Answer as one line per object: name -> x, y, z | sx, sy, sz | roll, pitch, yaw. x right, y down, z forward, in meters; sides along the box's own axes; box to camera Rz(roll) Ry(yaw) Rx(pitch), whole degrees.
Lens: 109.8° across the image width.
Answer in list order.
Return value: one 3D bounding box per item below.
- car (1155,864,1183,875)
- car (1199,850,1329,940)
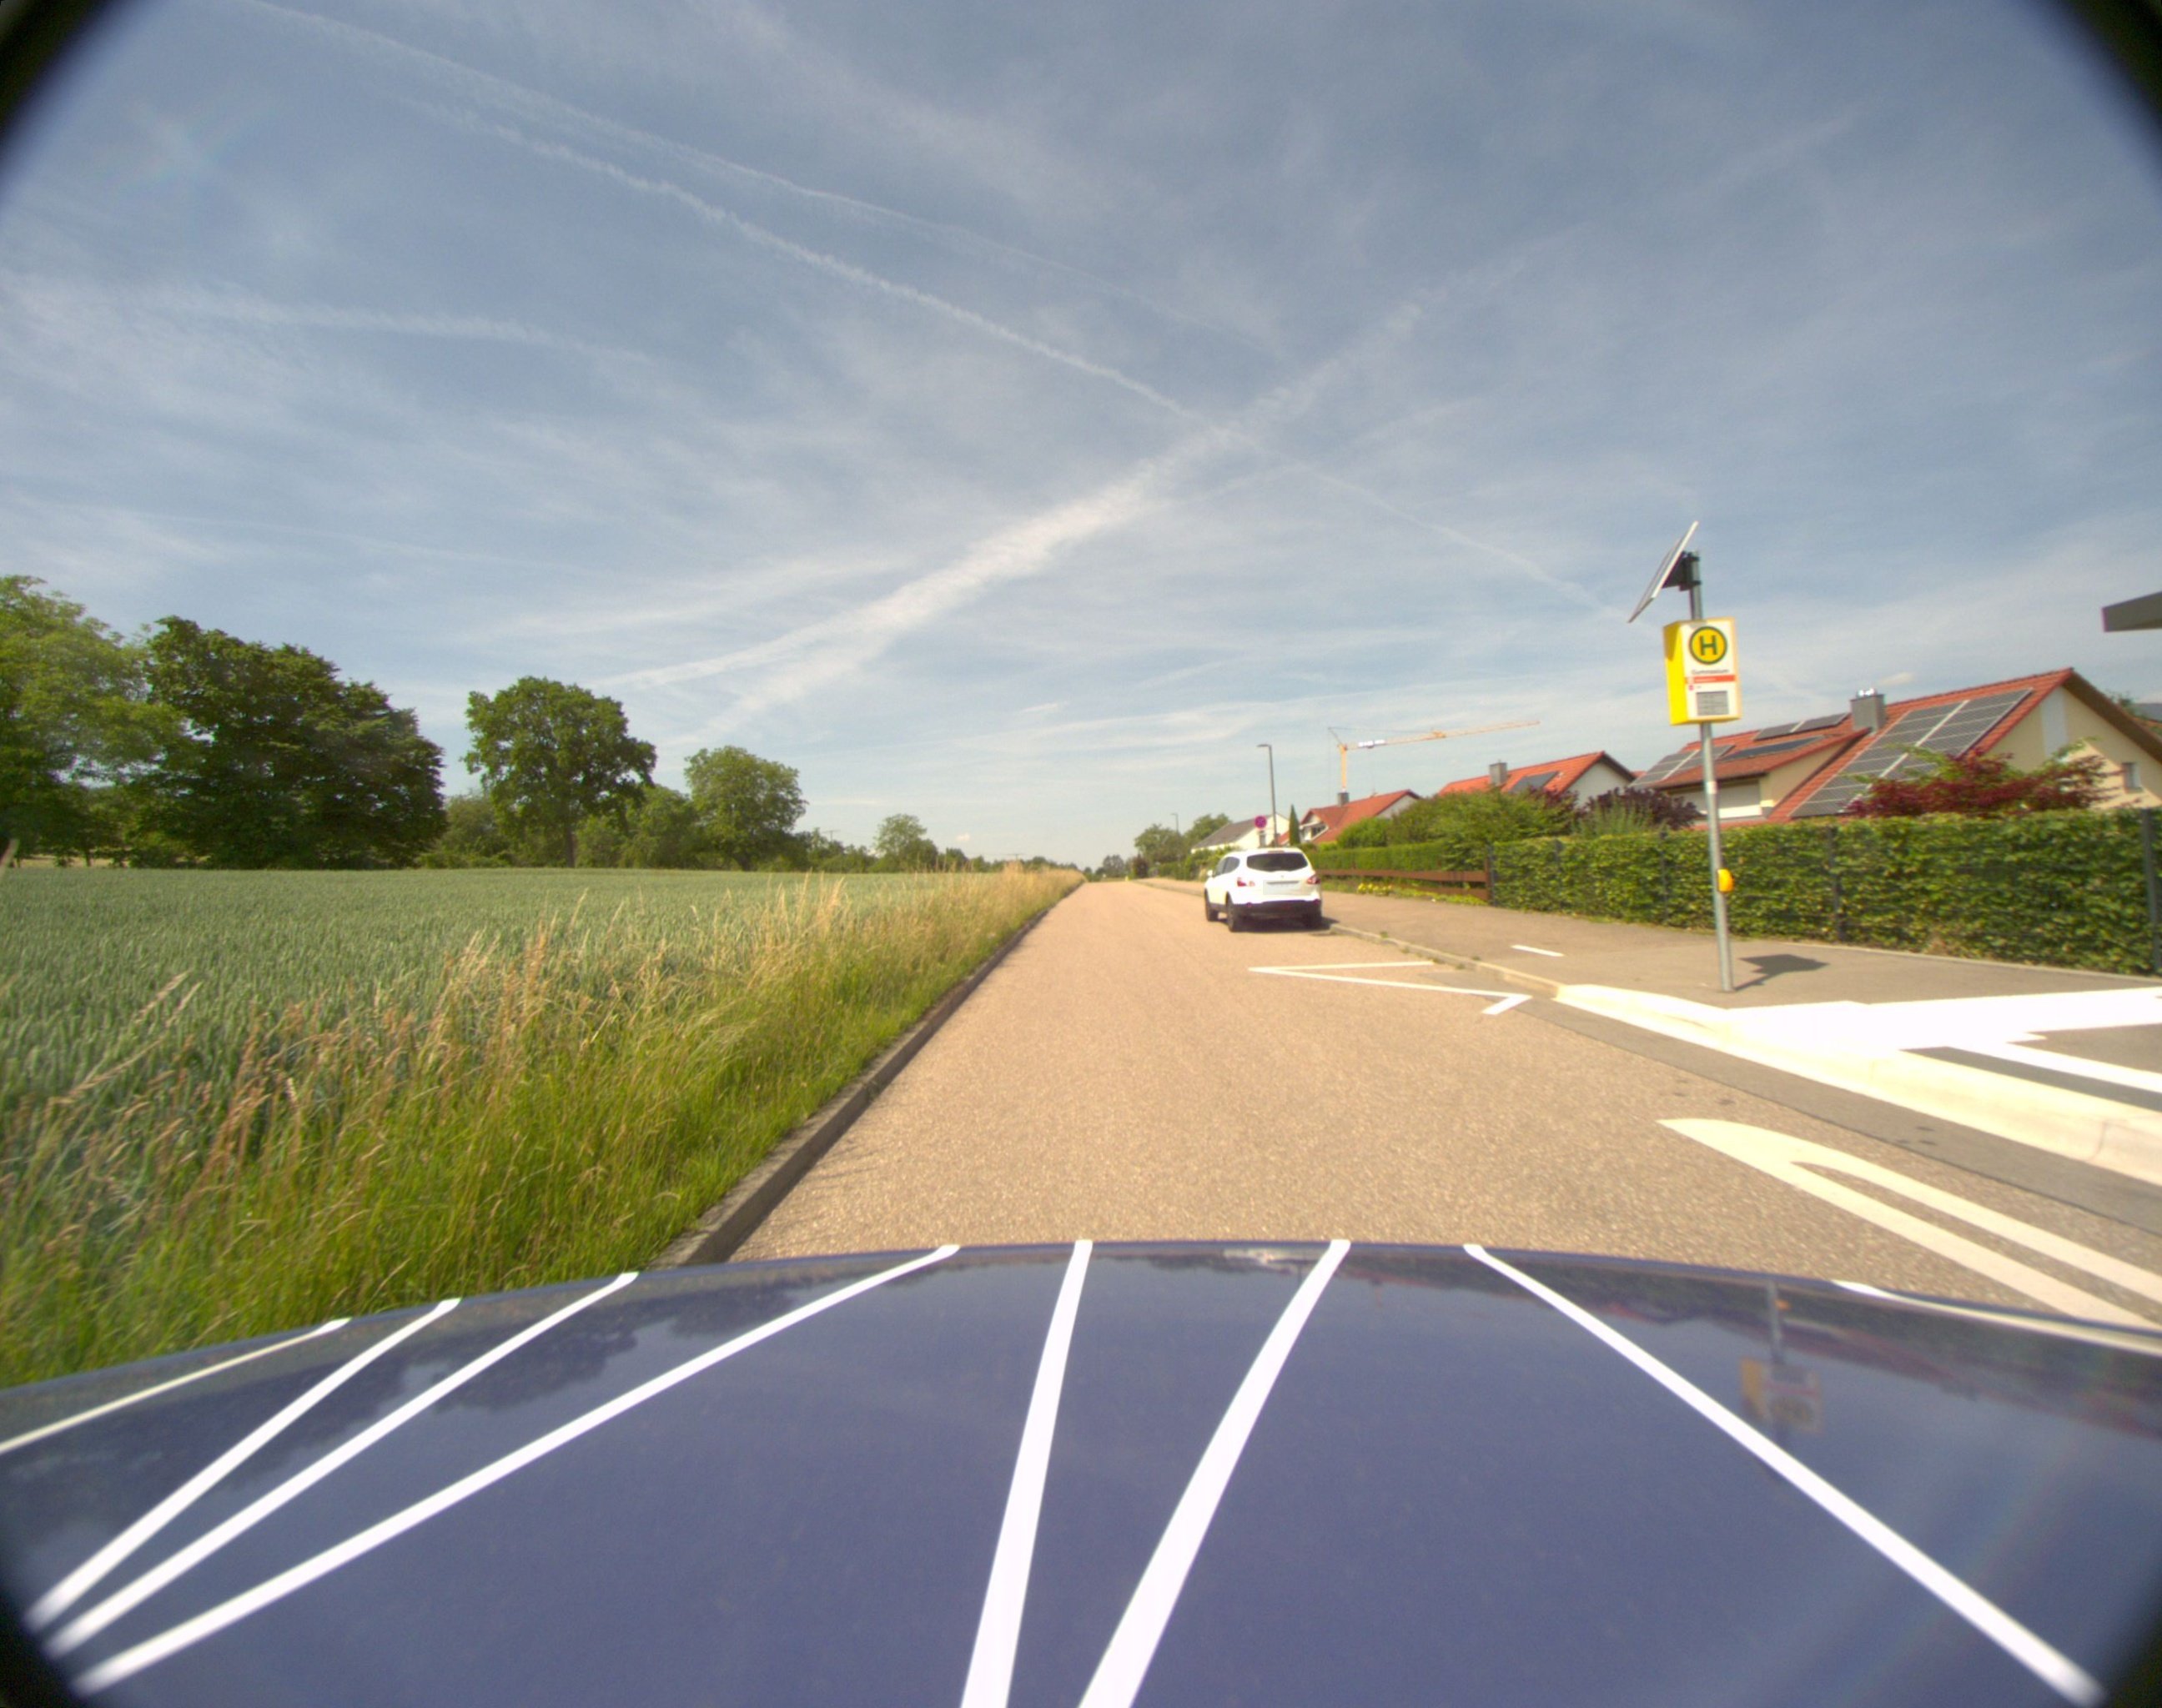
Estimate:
car -> 12.968, 2.312, 112.016 | 3.884, 1.313, 1.802 | -3, -1, 6
car -> 3.784, 0.786, 16.462 | 1.738, 1.623, 4.352 | -2, 0, 0
